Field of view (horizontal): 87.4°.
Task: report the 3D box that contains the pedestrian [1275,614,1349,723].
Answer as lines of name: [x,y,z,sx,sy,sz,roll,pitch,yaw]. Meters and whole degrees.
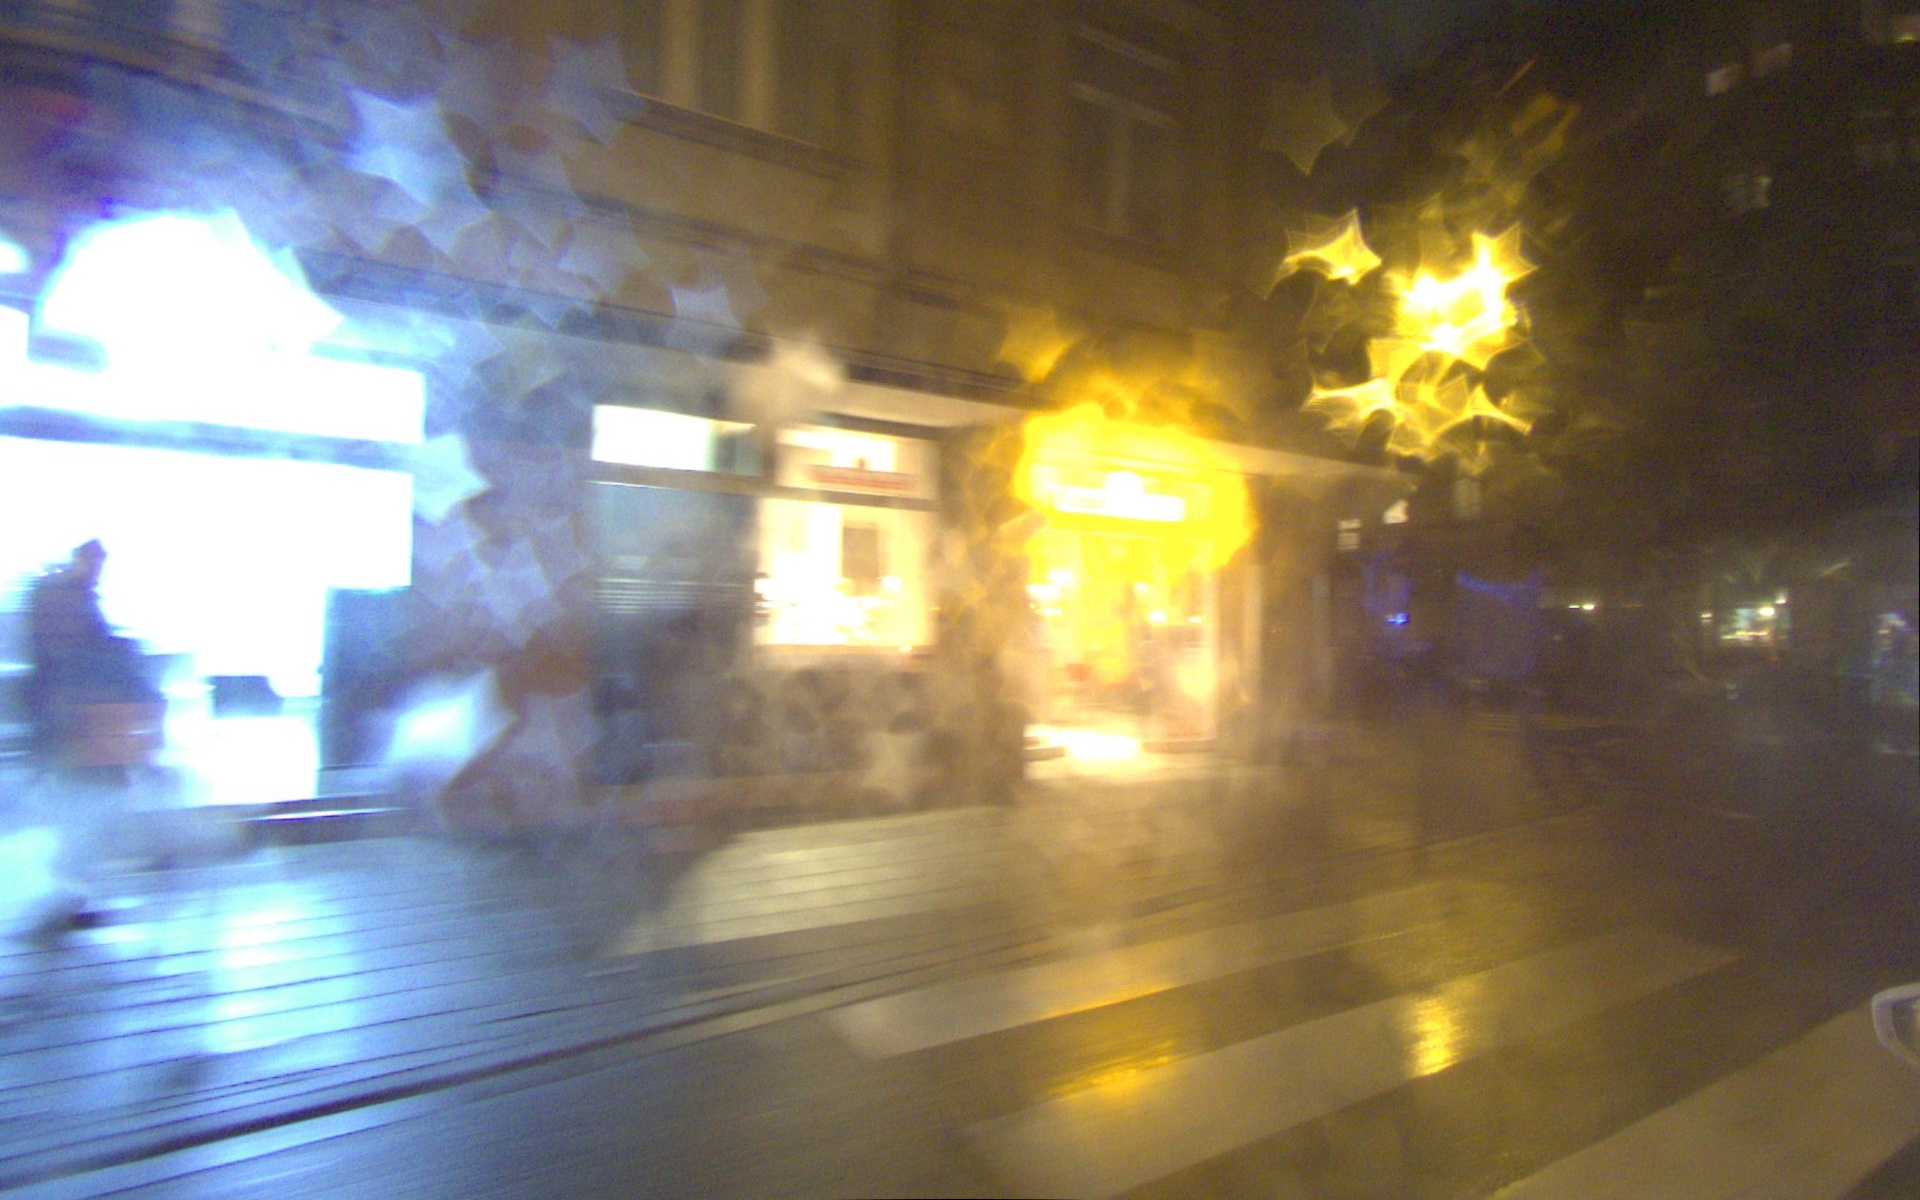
pedestrian: [6.242,1.211,17.841,0.931,1.882,0.796,1,-3,-19]

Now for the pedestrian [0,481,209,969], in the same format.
pedestrian: [-4.106,0.488,4.218,1.400,1.888,0.950,2,-2,-33]

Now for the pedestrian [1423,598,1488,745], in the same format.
pedestrian: [6.732,0.955,13.670,0.641,1.934,0.629,0,-1,13]
